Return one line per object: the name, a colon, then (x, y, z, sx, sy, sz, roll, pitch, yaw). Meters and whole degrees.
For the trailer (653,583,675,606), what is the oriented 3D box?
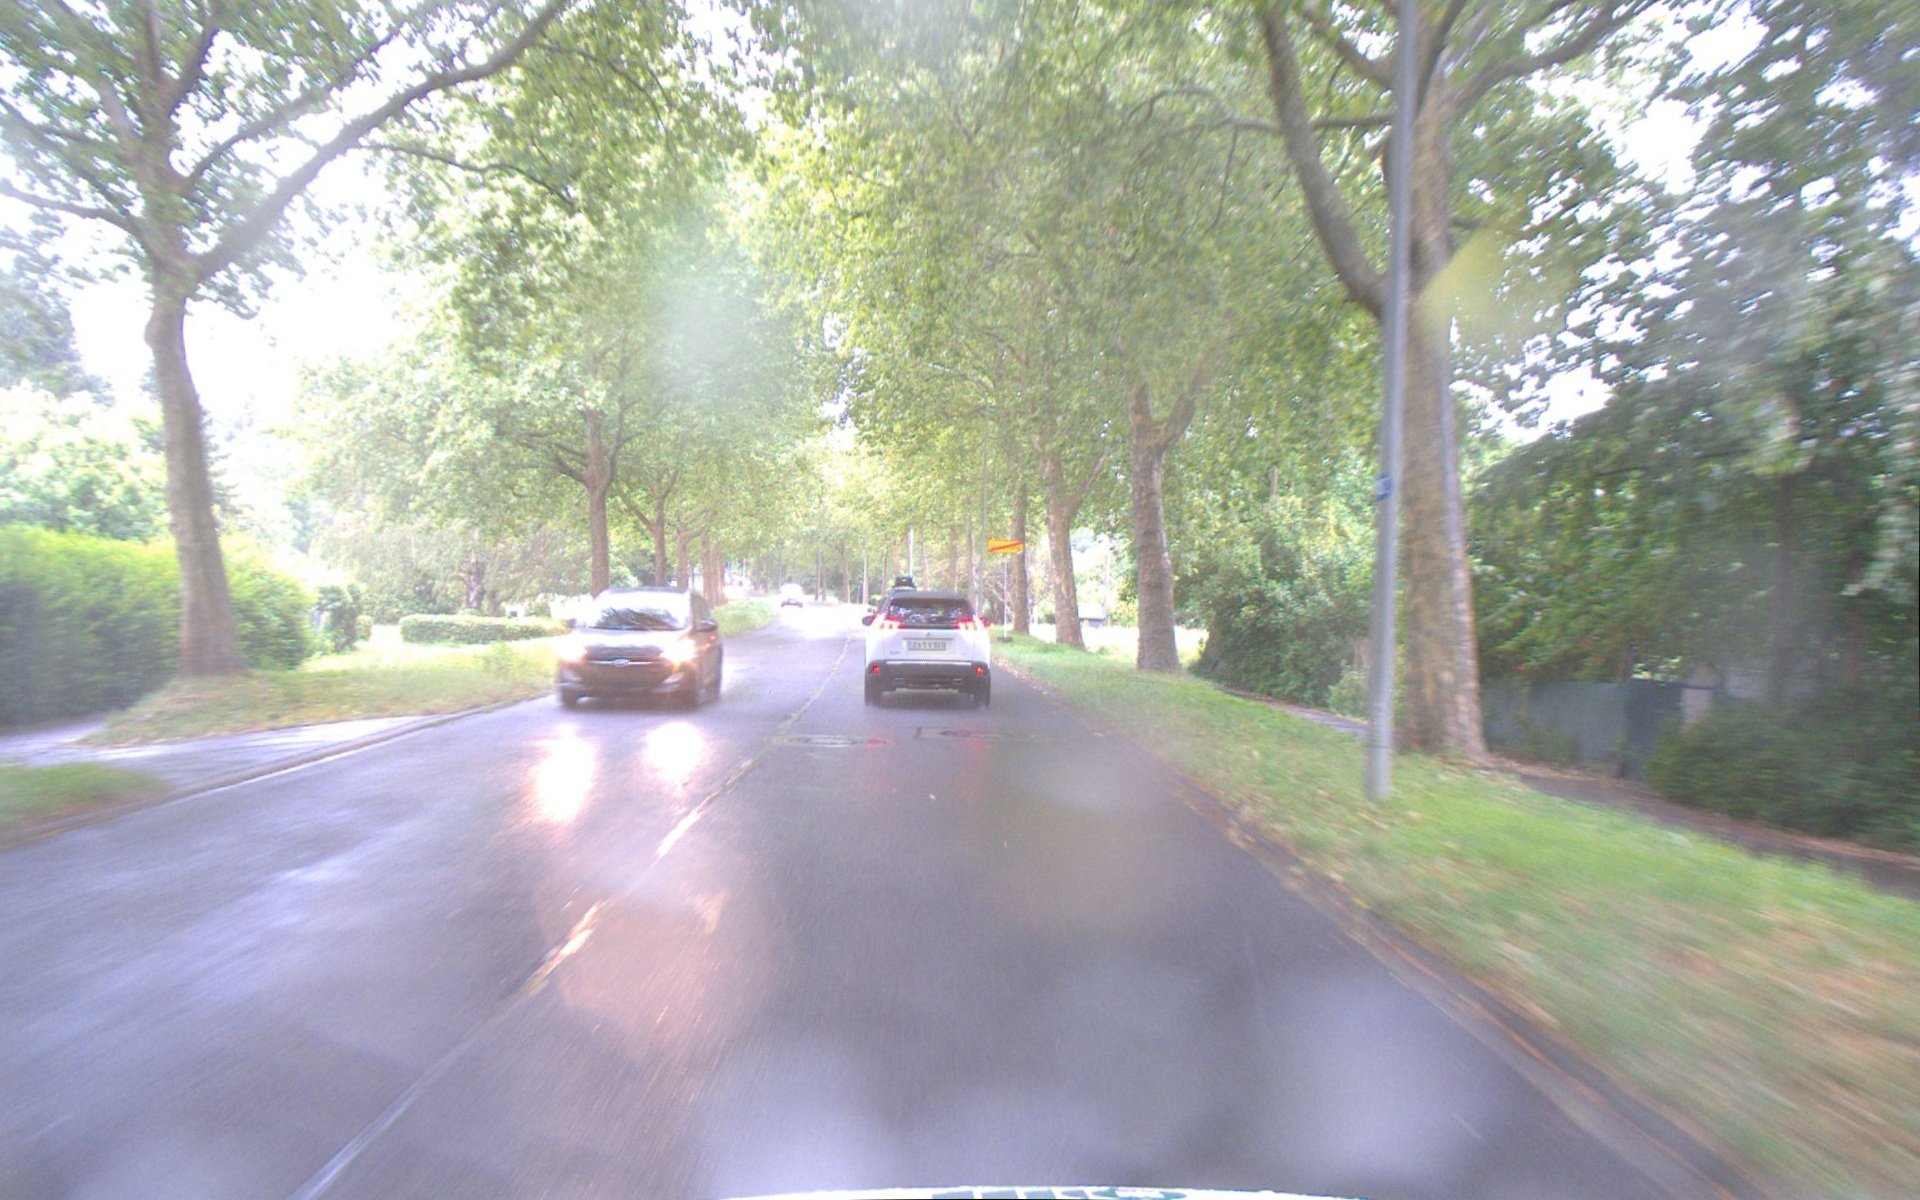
trailer: (-34.201, -0.621, 191.322, 2.440, 2.612, 5.319, 2, 0, -10)

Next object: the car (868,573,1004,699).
car: (-0.345, 0.462, 23.783, 1.757, 1.606, 3.843, 2, 0, -1)

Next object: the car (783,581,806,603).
car: (-14.380, -0.689, 143.518, 1.826, 1.780, 5.011, 2, 0, -5)

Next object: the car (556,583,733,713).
car: (-4.087, 0.578, 22.012, 1.809, 1.528, 3.996, 2, 0, -4)
